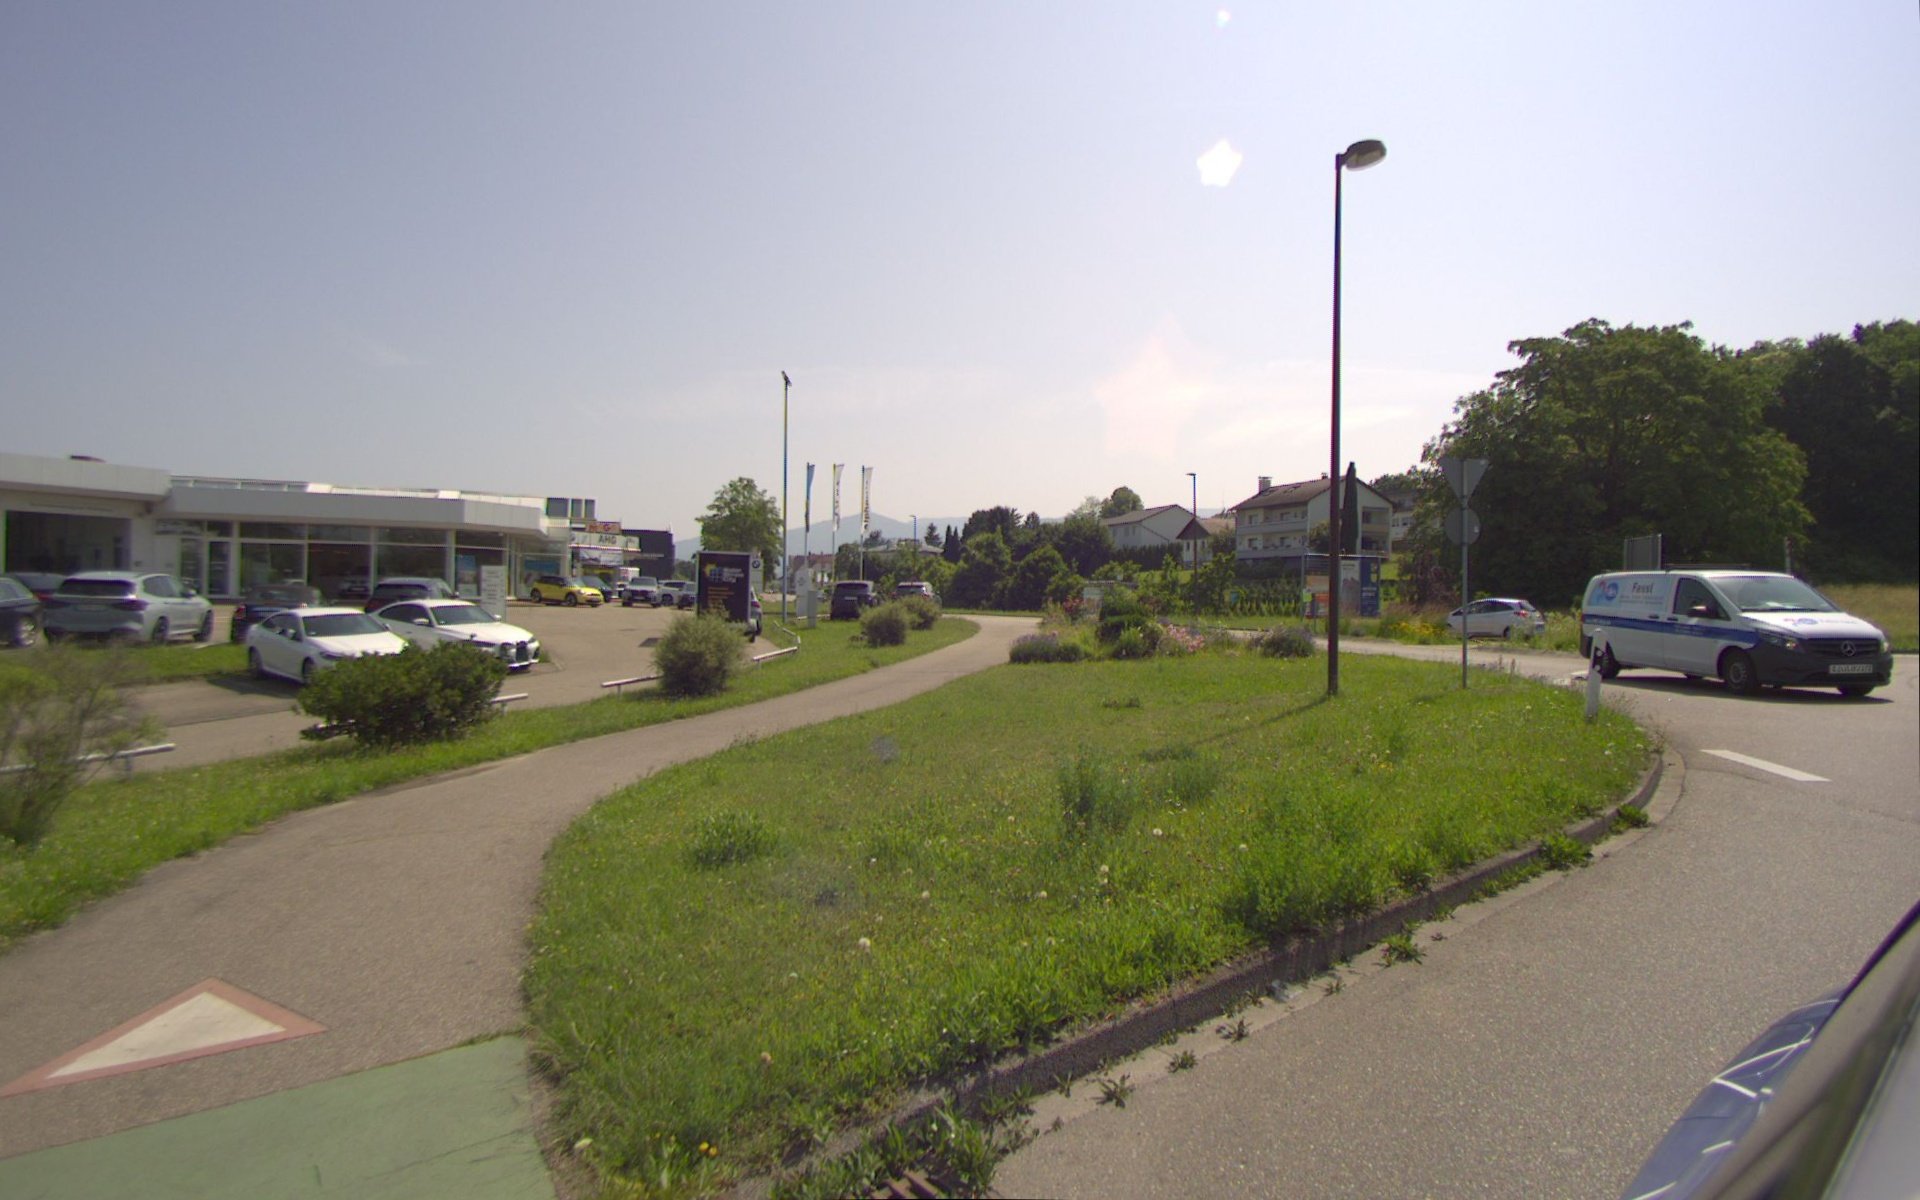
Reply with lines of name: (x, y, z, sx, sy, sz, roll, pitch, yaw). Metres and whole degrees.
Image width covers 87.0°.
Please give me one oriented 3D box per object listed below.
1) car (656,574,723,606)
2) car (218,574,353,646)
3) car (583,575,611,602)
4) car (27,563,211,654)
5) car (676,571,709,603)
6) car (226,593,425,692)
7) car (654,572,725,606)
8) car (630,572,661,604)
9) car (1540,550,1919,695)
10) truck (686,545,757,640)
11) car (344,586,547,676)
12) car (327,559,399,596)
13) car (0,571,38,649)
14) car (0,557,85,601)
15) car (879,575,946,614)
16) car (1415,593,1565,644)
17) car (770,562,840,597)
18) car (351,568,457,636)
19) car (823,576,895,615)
car: (-17.805, -0.664, 66.657, 4.172, 2.039, 2.004, -1, 0, -18)
car: (-16.467, 0.188, 24.914, 1.908, 1.518, 4.018, 2, 2, -21)
car: (-23.121, -0.724, 64.467, 1.548, 1.675, 3.705, -1, 0, -18)
car: (-18.235, 0.113, 22.183, 1.909, 1.771, 4.018, 1, 2, -21)
car: (-14.730, -0.674, 55.594, 1.548, 1.675, 3.705, -1, 0, -18)
car: (-12.563, 0.741, 19.950, 4.549, 1.590, 1.746, 2, 2, 35)
car: (-16.968, -0.674, 63.459, 4.172, 2.039, 2.004, -1, 0, -18)
car: (-17.245, -0.624, 55.480, 1.548, 1.675, 3.705, -1, 0, -18)
car: (12.353, 0.297, 16.493, 1.822, 1.962, 5.240, -1, 0, -16)
truck: (-7.562, -0.262, 31.724, 1.908, 2.698, 5.640, 1, 1, -16)
car: (-11.417, 0.603, 22.386, 4.627, 1.590, 1.750, 4, 2, 30)
car: (-27.736, -1.054, 47.149, 1.869, 1.606, 4.050, 1, 1, -16)
car: (-19.761, 0.204, 19.075, 1.908, 1.545, 4.018, 1, 1, -15)
car: (-25.414, -0.582, 27.753, 2.938, 1.124, 1.606, 2, 1, 38)
car: (-1.977, -0.258, 43.211, 1.879, 1.531, 4.362, 1, 1, 11)
car: (18.407, 0.667, 35.289, 2.093, 1.637, 4.188, 3, -3, -43)
car: (-7.108, -0.937, 46.822, 1.879, 1.531, 4.362, 1, 1, 11)
car: (-14.840, -0.022, 27.243, 1.909, 1.518, 4.438, -1, 4, -21)
car: (-4.215, -0.224, 43.070, 1.879, 1.531, 4.362, 1, 1, 11)
